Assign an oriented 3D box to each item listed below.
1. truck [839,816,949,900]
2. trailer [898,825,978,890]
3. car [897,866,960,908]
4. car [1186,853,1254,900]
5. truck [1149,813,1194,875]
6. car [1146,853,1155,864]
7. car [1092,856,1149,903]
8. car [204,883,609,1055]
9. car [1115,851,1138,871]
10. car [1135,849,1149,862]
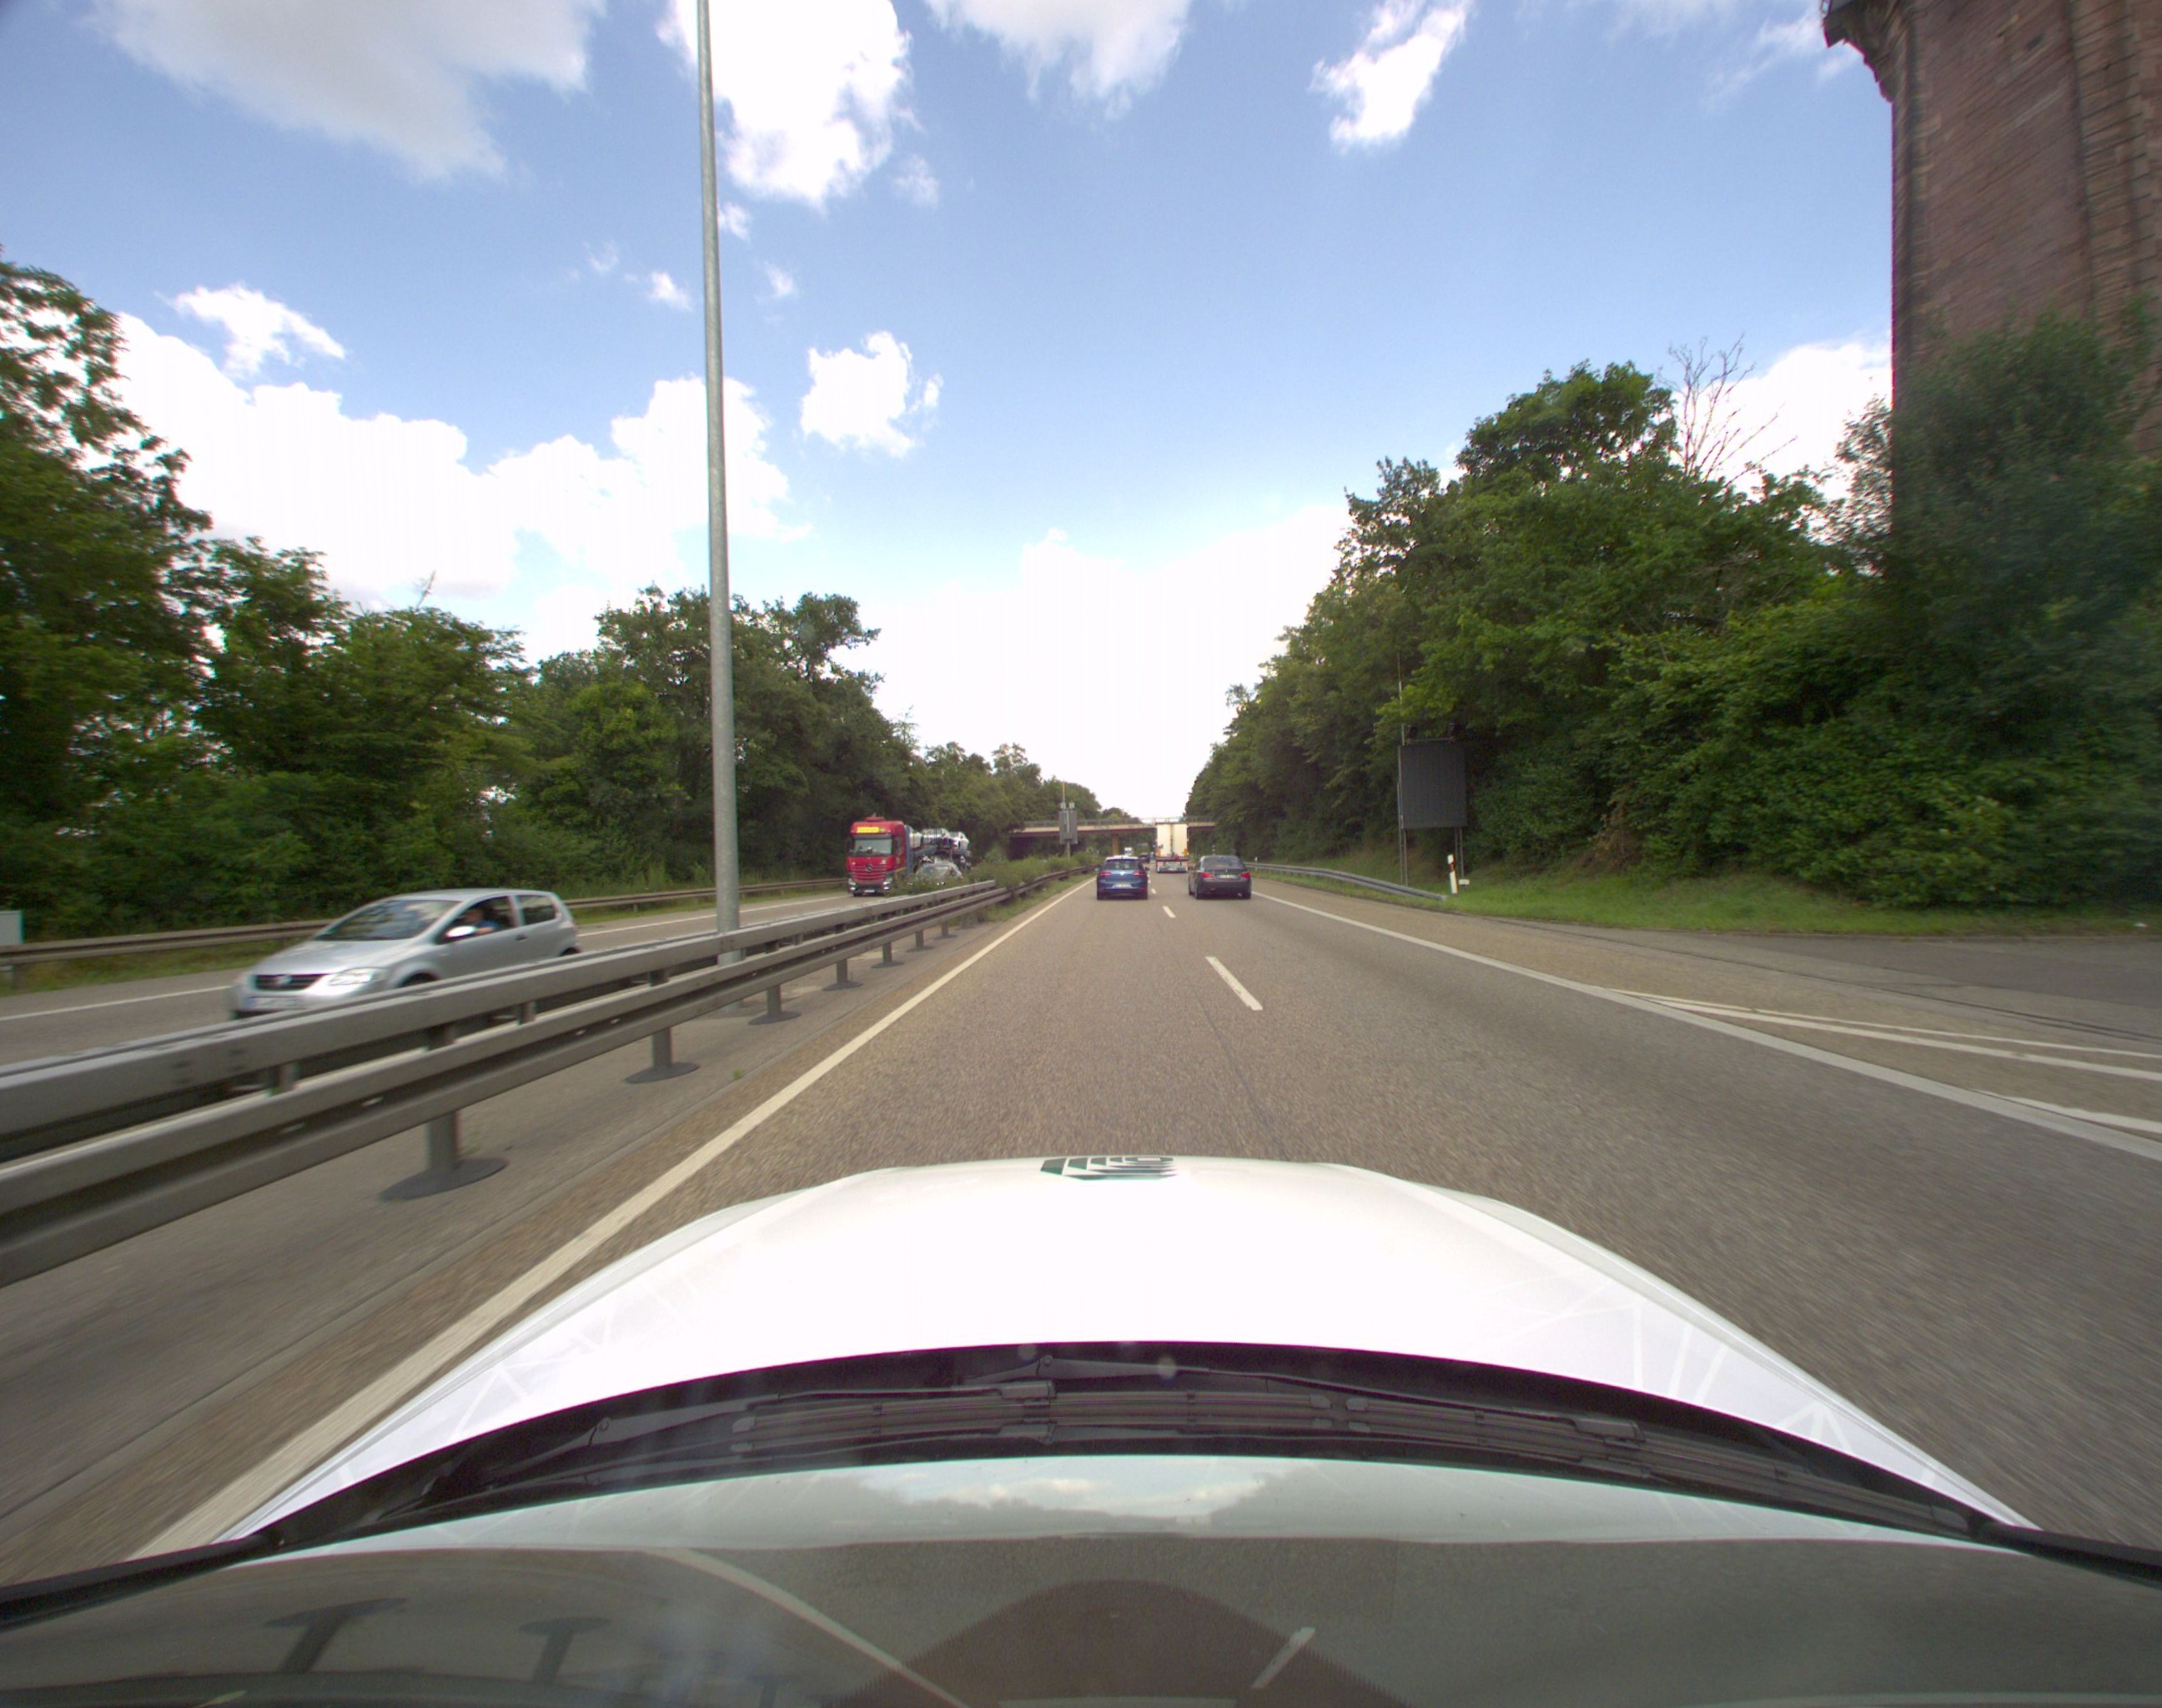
[{"bbox_3d":[-9.862,0.188,44.448,2.943,3.855,10.330,-3,0,3],"label":"truck"},{"bbox_3d":[-9.329,0.197,54.709,2.926,3.833,10.317,-3,0,3],"label":"trailer"},{"bbox_3d":[-6.396,1.363,34.640,1.667,1.551,4.265,-3,0,2],"label":"car"},{"bbox_3d":[4.722,0.753,28.299,1.767,1.475,4.884,-1,-1,3],"label":"car"},{"bbox_3d":[7.479,-0.802,68.332,3.226,4.716,11.023,-2,0,5],"label":"truck"},{"bbox_3d":[16.861,1.077,196.951,1.984,2.327,4.448,-2,0,4],"label":"car"},{"bbox_3d":[1.456,0.844,28.674,1.696,1.470,4.007,-1,0,6],"label":"car"},{"bbox_3d":[-8.155,1.263,10.451,1.699,1.568,4.033,-2,0,2],"label":"car"},{"bbox_3d":[3.723,0.567,65.745,1.657,1.500,4.158,-1,0,5],"label":"car"},{"bbox_3d":[9.635,0.241,128.052,1.944,2.013,4.007,-3,0,6],"label":"car"}]
